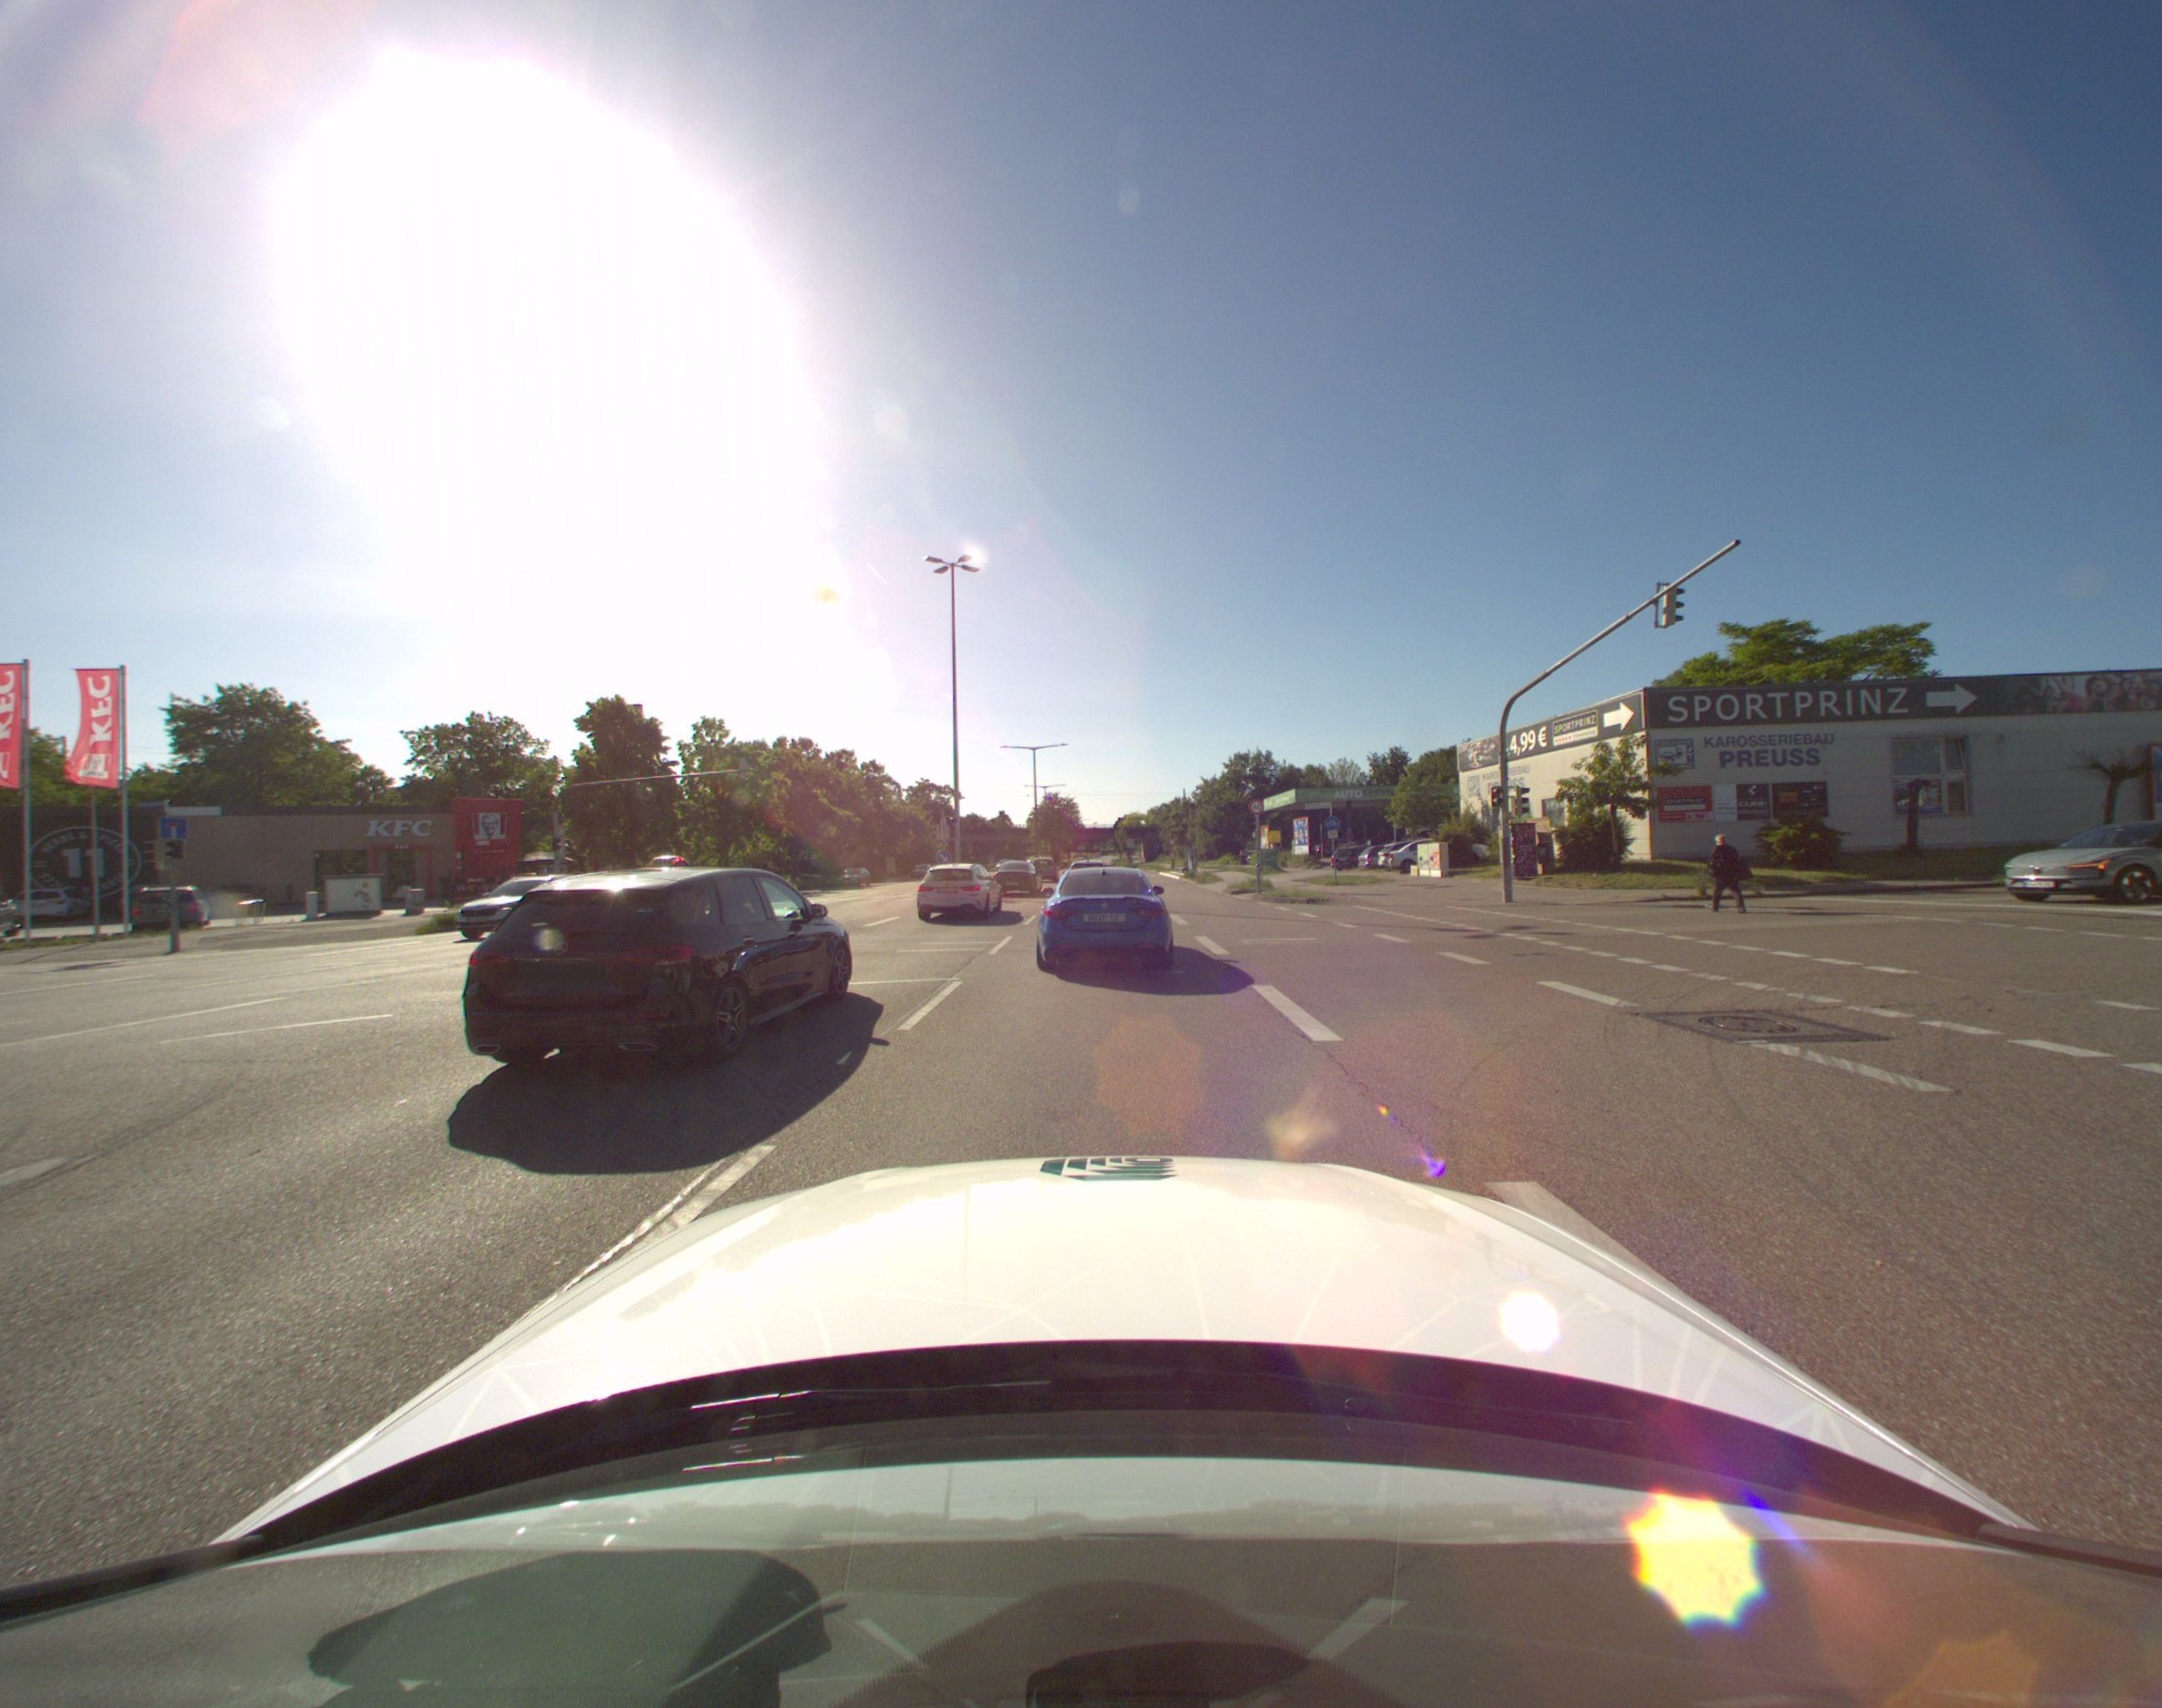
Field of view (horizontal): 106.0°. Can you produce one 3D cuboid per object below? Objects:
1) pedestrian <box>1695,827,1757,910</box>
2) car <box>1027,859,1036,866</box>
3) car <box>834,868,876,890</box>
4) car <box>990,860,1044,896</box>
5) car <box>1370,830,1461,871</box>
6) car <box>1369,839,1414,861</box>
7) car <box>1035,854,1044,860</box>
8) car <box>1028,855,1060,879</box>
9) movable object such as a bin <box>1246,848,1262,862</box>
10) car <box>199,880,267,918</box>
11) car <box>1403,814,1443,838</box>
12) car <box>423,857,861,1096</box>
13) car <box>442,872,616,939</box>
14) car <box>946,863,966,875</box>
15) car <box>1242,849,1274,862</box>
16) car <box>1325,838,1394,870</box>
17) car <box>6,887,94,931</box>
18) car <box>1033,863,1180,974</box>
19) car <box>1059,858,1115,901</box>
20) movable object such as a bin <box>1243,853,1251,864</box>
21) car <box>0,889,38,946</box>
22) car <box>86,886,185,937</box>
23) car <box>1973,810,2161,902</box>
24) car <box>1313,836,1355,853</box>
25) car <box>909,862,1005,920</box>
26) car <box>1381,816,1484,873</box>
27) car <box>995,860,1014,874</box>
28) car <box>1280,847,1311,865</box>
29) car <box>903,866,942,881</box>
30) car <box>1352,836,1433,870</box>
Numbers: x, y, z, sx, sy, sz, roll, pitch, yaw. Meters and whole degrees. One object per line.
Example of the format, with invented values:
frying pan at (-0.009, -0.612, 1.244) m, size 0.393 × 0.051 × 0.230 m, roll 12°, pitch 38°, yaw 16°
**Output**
pedestrian at (13.674, 0.301, 17.279) m, size 0.754 × 1.716 × 0.618 m, roll -2°, pitch -1°, yaw 1°
car at (-11.125, 1.913, 182.515) m, size 1.635 × 1.451 × 4.112 m, roll -4°, pitch -1°, yaw 1°
car at (-17.791, 1.929, 64.200) m, size 1.986 × 1.525 × 4.197 m, roll -2°, pitch 0°, yaw 1°
car at (-2.676, 0.980, 35.041) m, size 1.876 × 1.454 × 4.527 m, roll 0°, pitch -1°, yaw 1°
car at (16.950, -0.189, 41.469) m, size 3.893 × 1.452 × 1.731 m, roll -9°, pitch -1°, yaw 12°
car at (23.617, -0.289, 62.021) m, size 1.986 × 1.647 × 4.001 m, roll 0°, pitch -1°, yaw 1°
car at (-9.926, 0.680, 195.695) m, size 1.811 × 1.435 × 4.631 m, roll -4°, pitch -1°, yaw 1°
car at (-2.400, 0.851, 53.285) m, size 1.773 × 1.454 × 4.183 m, roll -2°, pitch 0°, yaw 1°
movable object such as a bin at (17.952, 0.151, 84.674) m, size 0.994 × 1.428 × 1.245 m, roll -1°, pitch 0°, yaw -41°
car at (-41.306, 2.131, 39.750) m, size 1.905 × 1.662 × 4.192 m, roll 0°, pitch -1°, yaw -41°
car at (29.468, -2.392, 70.330) m, size 1.911 × 1.755 × 3.780 m, roll -3°, pitch -1°, yaw 2°
car at (-3.522, 0.840, 7.593) m, size 1.702 × 1.598 × 4.225 m, roll 0°, pitch -1°, yaw 1°
car at (-15.651, 1.389, 23.415) m, size 1.888 × 1.600 × 4.269 m, roll -3°, pitch -1°, yaw 2°
car at (-16.695, 1.938, 109.017) m, size 1.986 × 1.474 × 4.197 m, roll -2°, pitch -1°, yaw 1°
car at (19.659, 0.165, 90.515) m, size 3.271 × 1.486 × 1.773 m, roll 0°, pitch -1°, yaw 2°
car at (16.765, -0.017, 48.885) m, size 1.877 × 1.531 × 4.865 m, roll -5°, pitch 0°, yaw 45°
car at (-46.320, 2.411, 36.673) m, size 1.894 × 1.748 × 3.951 m, roll -2°, pitch -1°, yaw -43°
car at (0.375, 0.854, 12.571) m, size 1.876 × 1.406 × 4.225 m, roll 0°, pitch -1°, yaw 1°
car at (0.263, 0.883, 30.092) m, size 1.876 × 1.454 × 4.527 m, roll 0°, pitch -1°, yaw 1°
movable object such as a bin at (17.406, 0.478, 85.448) m, size 0.585 × 1.121 × 0.504 m, roll -1°, pitch -1°, yaw -40°
car at (-38.081, 2.193, 28.005) m, size 1.856 × 1.851 × 3.786 m, roll 0°, pitch -1°, yaw -39°
car at (-35.813, 2.129, 30.957) m, size 1.905 × 1.662 × 4.084 m, roll 0°, pitch -1°, yaw -41°
car at (20.735, 0.007, 16.057) m, size 4.075 × 1.645 × 1.902 m, roll -3°, pitch -2°, yaw 2°
car at (27.492, -1.045, 88.557) m, size 4.021 × 1.531 × 1.735 m, roll -4°, pitch -1°, yaw 2°
car at (-3.315, 0.946, 22.671) m, size 1.876 × 1.454 × 4.527 m, roll 0°, pitch -1°, yaw 1°
car at (16.403, -0.429, 38.049) m, size 3.948 × 2.013 × 1.697 m, roll -10°, pitch -1°, yaw 33°
car at (-9.738, 1.612, 104.118) m, size 1.868 × 1.642 × 4.172 m, roll -3°, pitch -1°, yaw 1°
car at (18.976, 0.179, 72.300) m, size 1.737 × 1.573 × 4.251 m, roll -2°, pitch 0°, yaw 2°
car at (-16.741, 2.069, 86.204) m, size 1.978 × 1.376 × 4.643 m, roll -2°, pitch -1°, yaw 17°
car at (16.982, -0.050, 44.499) m, size 3.592 × 1.290 × 1.842 m, roll -9°, pitch -1°, yaw 2°
